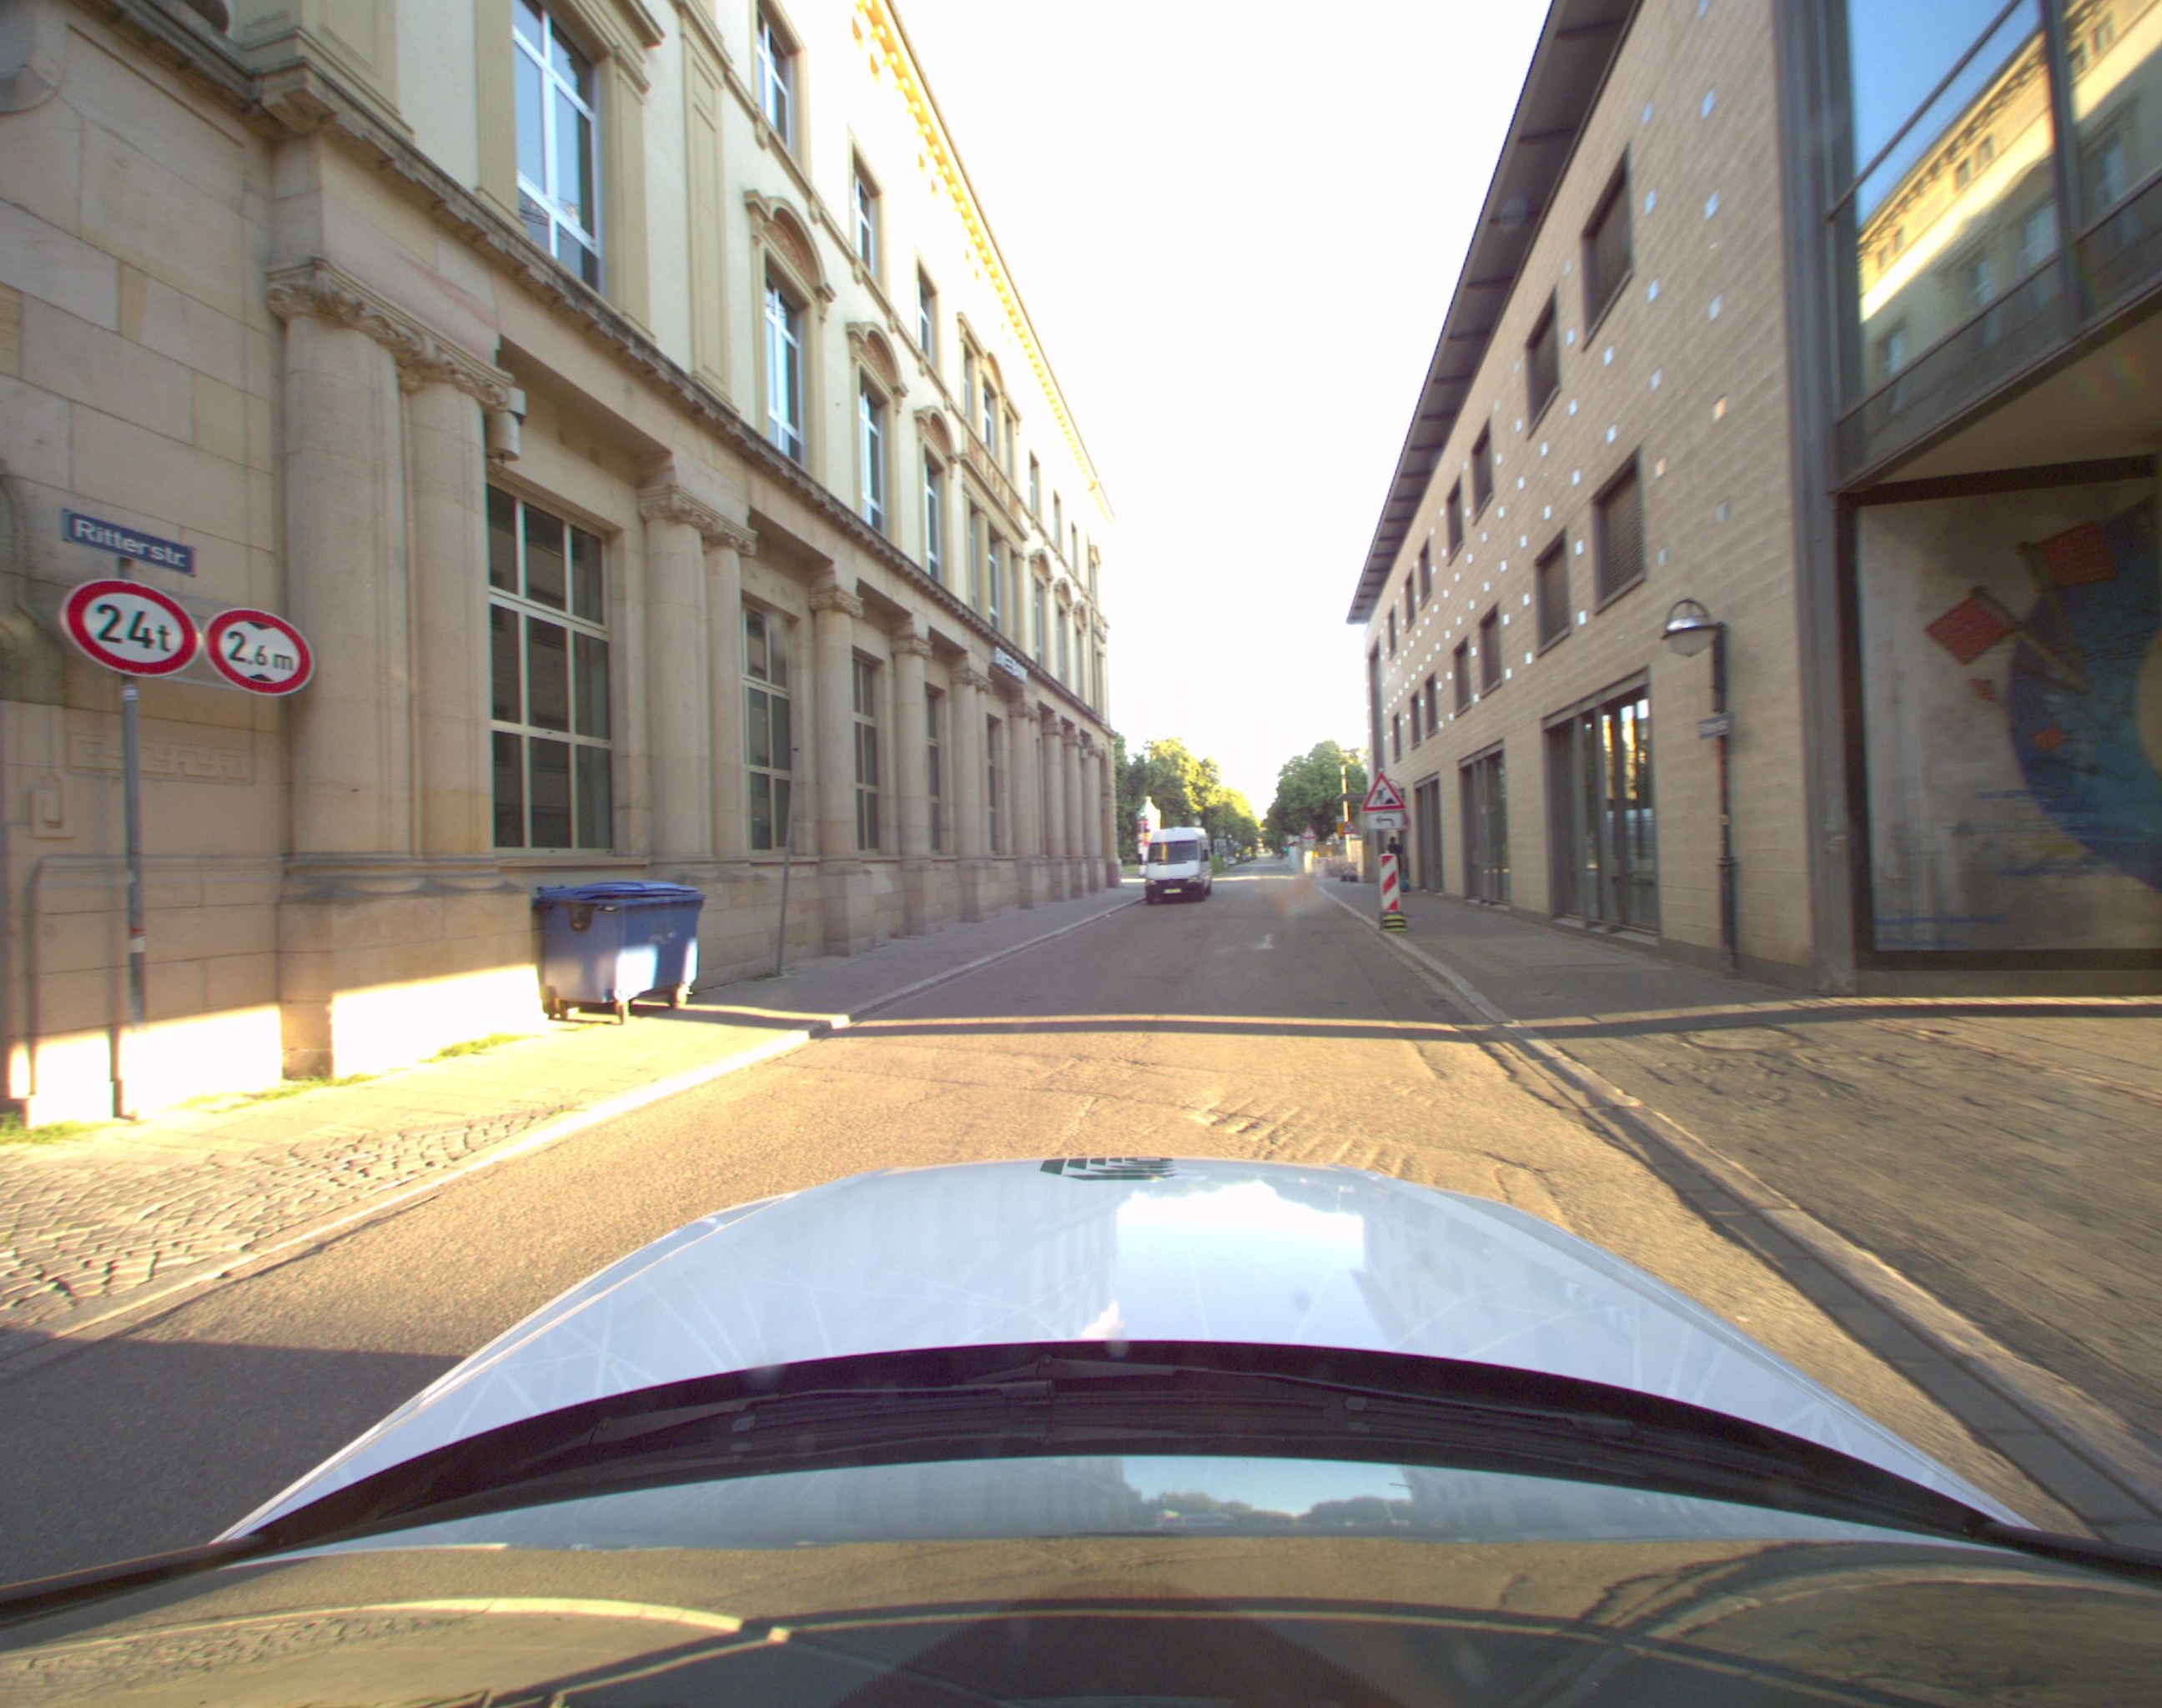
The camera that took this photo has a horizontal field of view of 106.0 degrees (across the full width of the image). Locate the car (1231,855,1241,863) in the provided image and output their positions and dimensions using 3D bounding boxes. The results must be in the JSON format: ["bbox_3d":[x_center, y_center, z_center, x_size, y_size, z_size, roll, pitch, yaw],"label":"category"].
[{"bbox_3d":[25.267,0.821,132.848,1.458,1.256,3.691,-1,0,12],"label":"car"}]

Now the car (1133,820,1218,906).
[{"bbox_3d":[3.482,0.268,28.706,1.982,2.512,6.493,-6,-1,13],"label":"car"}]

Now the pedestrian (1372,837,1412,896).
[{"bbox_3d":[9.293,0.370,24.371,0.916,1.702,0.871,-3,-1,12],"label":"pedestrian"}]

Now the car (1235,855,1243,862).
[{"bbox_3d":[30.652,0.850,158.155,1.458,1.404,3.691,-1,0,12],"label":"car"}]

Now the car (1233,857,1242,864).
[{"bbox_3d":[27.996,1.141,145.295,1.458,1.256,3.691,-1,0,12],"label":"car"}]

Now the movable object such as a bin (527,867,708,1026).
[{"bbox_3d":[-4.697,0.878,8.335,1.066,1.475,1.192,-1,0,16],"label":"movable object such as a bin"}]
